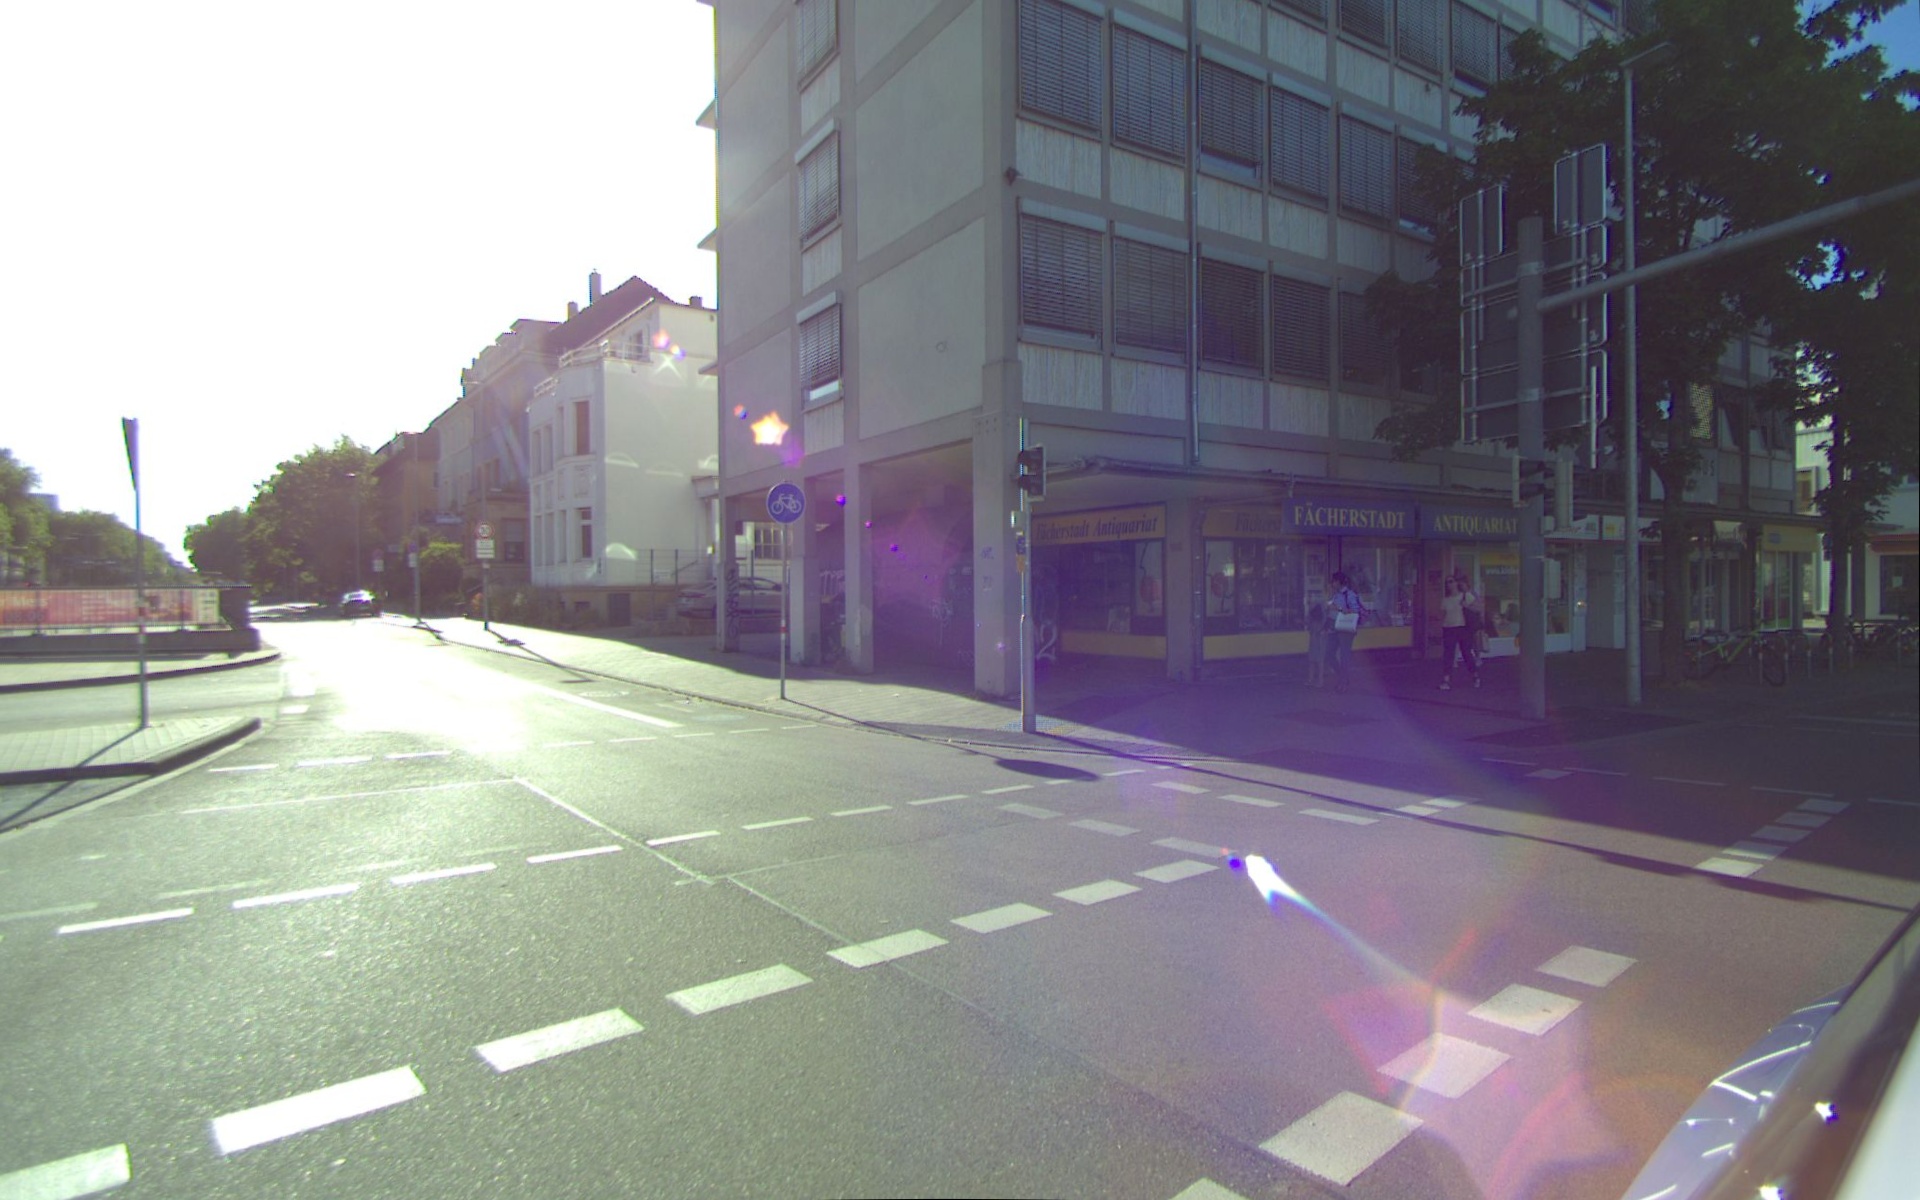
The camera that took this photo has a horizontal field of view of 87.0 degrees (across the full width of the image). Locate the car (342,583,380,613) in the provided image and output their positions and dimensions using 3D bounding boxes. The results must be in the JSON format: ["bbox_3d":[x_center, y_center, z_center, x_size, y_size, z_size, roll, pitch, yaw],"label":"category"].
[{"bbox_3d":[-33.885,-0.141,57.332,1.656,1.616,3.898,-1,1,-28],"label":"car"}]

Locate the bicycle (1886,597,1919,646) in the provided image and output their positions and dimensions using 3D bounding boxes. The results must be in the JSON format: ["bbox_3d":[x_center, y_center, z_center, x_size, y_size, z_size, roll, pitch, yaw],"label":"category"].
[{"bbox_3d":[21.773,0.495,22.380,0.392,1.069,1.853,-2,3,-41],"label":"bicycle"}]

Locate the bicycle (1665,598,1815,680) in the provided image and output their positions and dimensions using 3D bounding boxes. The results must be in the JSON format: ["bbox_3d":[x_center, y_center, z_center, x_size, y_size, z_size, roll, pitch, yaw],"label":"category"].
[{"bbox_3d":[12.732,0.603,16.586,0.471,1.170,1.899,-2,3,-30],"label":"bicycle"}]

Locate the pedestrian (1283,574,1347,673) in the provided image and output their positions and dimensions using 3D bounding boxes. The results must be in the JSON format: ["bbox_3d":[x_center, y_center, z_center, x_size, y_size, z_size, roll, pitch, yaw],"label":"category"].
[{"bbox_3d":[5.381,0.344,15.336,0.609,1.440,0.647,-2,1,-29],"label":"pedestrian"}]

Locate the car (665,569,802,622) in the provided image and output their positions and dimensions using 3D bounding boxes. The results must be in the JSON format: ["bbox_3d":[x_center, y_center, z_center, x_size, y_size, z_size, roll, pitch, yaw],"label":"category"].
[{"bbox_3d":[-7.381,-0.169,33.093,3.952,1.578,1.801,-2,2,-37],"label":"car"}]

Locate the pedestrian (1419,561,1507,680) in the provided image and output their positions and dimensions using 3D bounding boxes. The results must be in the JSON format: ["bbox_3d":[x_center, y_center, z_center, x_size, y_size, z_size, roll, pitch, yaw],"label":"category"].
[{"bbox_3d":[7.650,0.294,15.407,0.862,1.728,0.846,-2,1,-31],"label":"pedestrian"}]

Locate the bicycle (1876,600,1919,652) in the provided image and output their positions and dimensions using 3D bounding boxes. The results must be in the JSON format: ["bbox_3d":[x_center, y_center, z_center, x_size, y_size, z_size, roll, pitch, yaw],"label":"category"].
[{"bbox_3d":[20.360,0.548,21.125,0.448,1.070,1.776,-2,1,-25],"label":"bicycle"}]

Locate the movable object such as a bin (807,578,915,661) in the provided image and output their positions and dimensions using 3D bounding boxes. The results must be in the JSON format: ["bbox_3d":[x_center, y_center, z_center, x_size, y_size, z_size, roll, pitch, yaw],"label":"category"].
[{"bbox_3d":[-1.968,0.339,19.928,1.423,1.487,1.918,-3,2,-30],"label":"movable object such as a bin"}]

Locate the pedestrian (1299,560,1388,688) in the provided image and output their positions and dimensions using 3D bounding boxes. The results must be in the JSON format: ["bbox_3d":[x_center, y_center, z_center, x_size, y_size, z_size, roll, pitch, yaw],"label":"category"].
[{"bbox_3d":[5.450,0.321,14.387,0.831,1.742,0.878,-2,1,-41],"label":"pedestrian"}]

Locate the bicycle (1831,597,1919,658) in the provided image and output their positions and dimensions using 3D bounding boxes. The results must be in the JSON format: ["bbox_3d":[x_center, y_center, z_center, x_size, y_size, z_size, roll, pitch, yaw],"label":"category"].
[{"bbox_3d":[18.594,0.539,20.184,0.427,1.166,1.816,-2,2,-34],"label":"bicycle"}]

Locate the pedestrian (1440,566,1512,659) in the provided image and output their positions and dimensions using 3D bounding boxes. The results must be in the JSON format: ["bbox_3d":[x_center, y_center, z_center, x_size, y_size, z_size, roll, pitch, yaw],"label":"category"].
[{"bbox_3d":[9.420,0.215,18.472,0.864,1.622,0.845,-2,1,-36],"label":"pedestrian"}]
